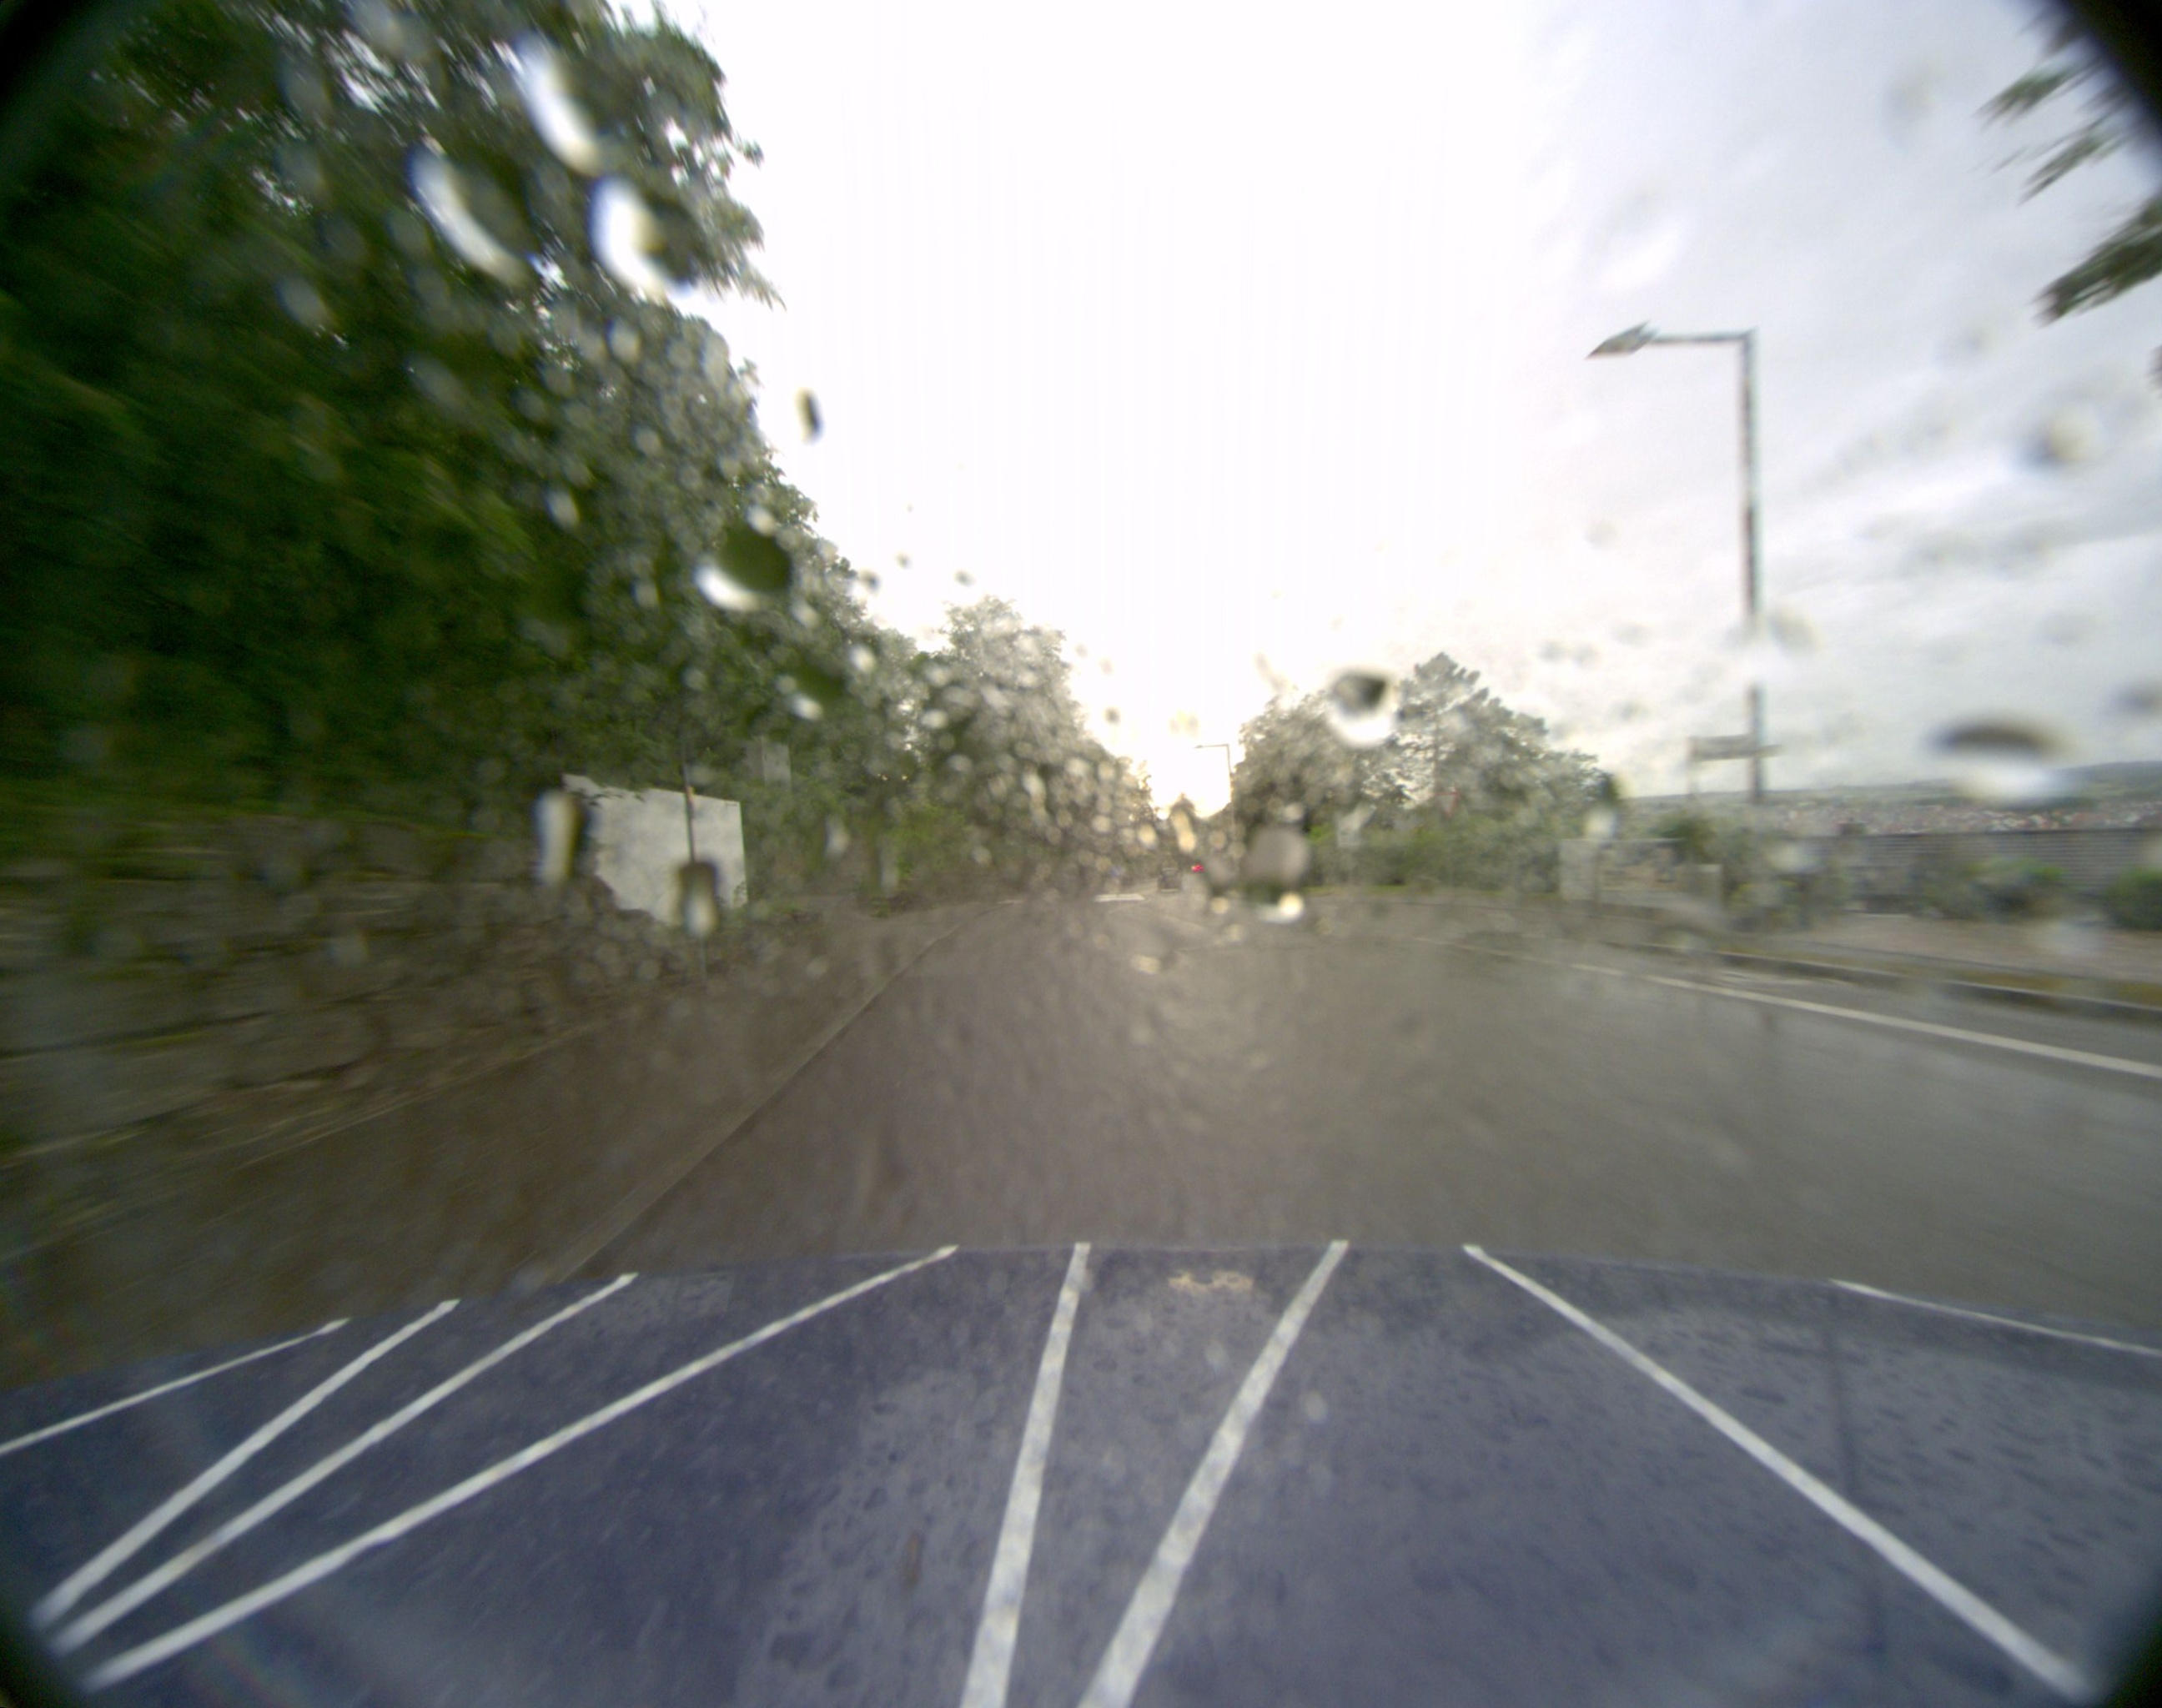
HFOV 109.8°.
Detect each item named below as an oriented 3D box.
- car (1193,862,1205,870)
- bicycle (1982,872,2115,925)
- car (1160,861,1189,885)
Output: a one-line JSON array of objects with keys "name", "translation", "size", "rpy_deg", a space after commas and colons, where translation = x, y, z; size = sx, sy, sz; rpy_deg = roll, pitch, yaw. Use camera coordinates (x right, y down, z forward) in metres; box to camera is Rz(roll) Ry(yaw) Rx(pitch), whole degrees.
[{"name": "car", "translation": [24.906, 2.494, 159.870], "size": [1.923, 1.638, 4.547], "rpy_deg": [-2, 0, 2]}, {"name": "bicycle", "translation": [19.925, 0.899, 15.698], "size": [0.430, 0.959, 1.665], "rpy_deg": [-3, 3, -39]}, {"name": "car", "translation": [6.442, 1.269, 52.350], "size": [1.835, 1.511, 4.629], "rpy_deg": [-2, 0, 7]}]
